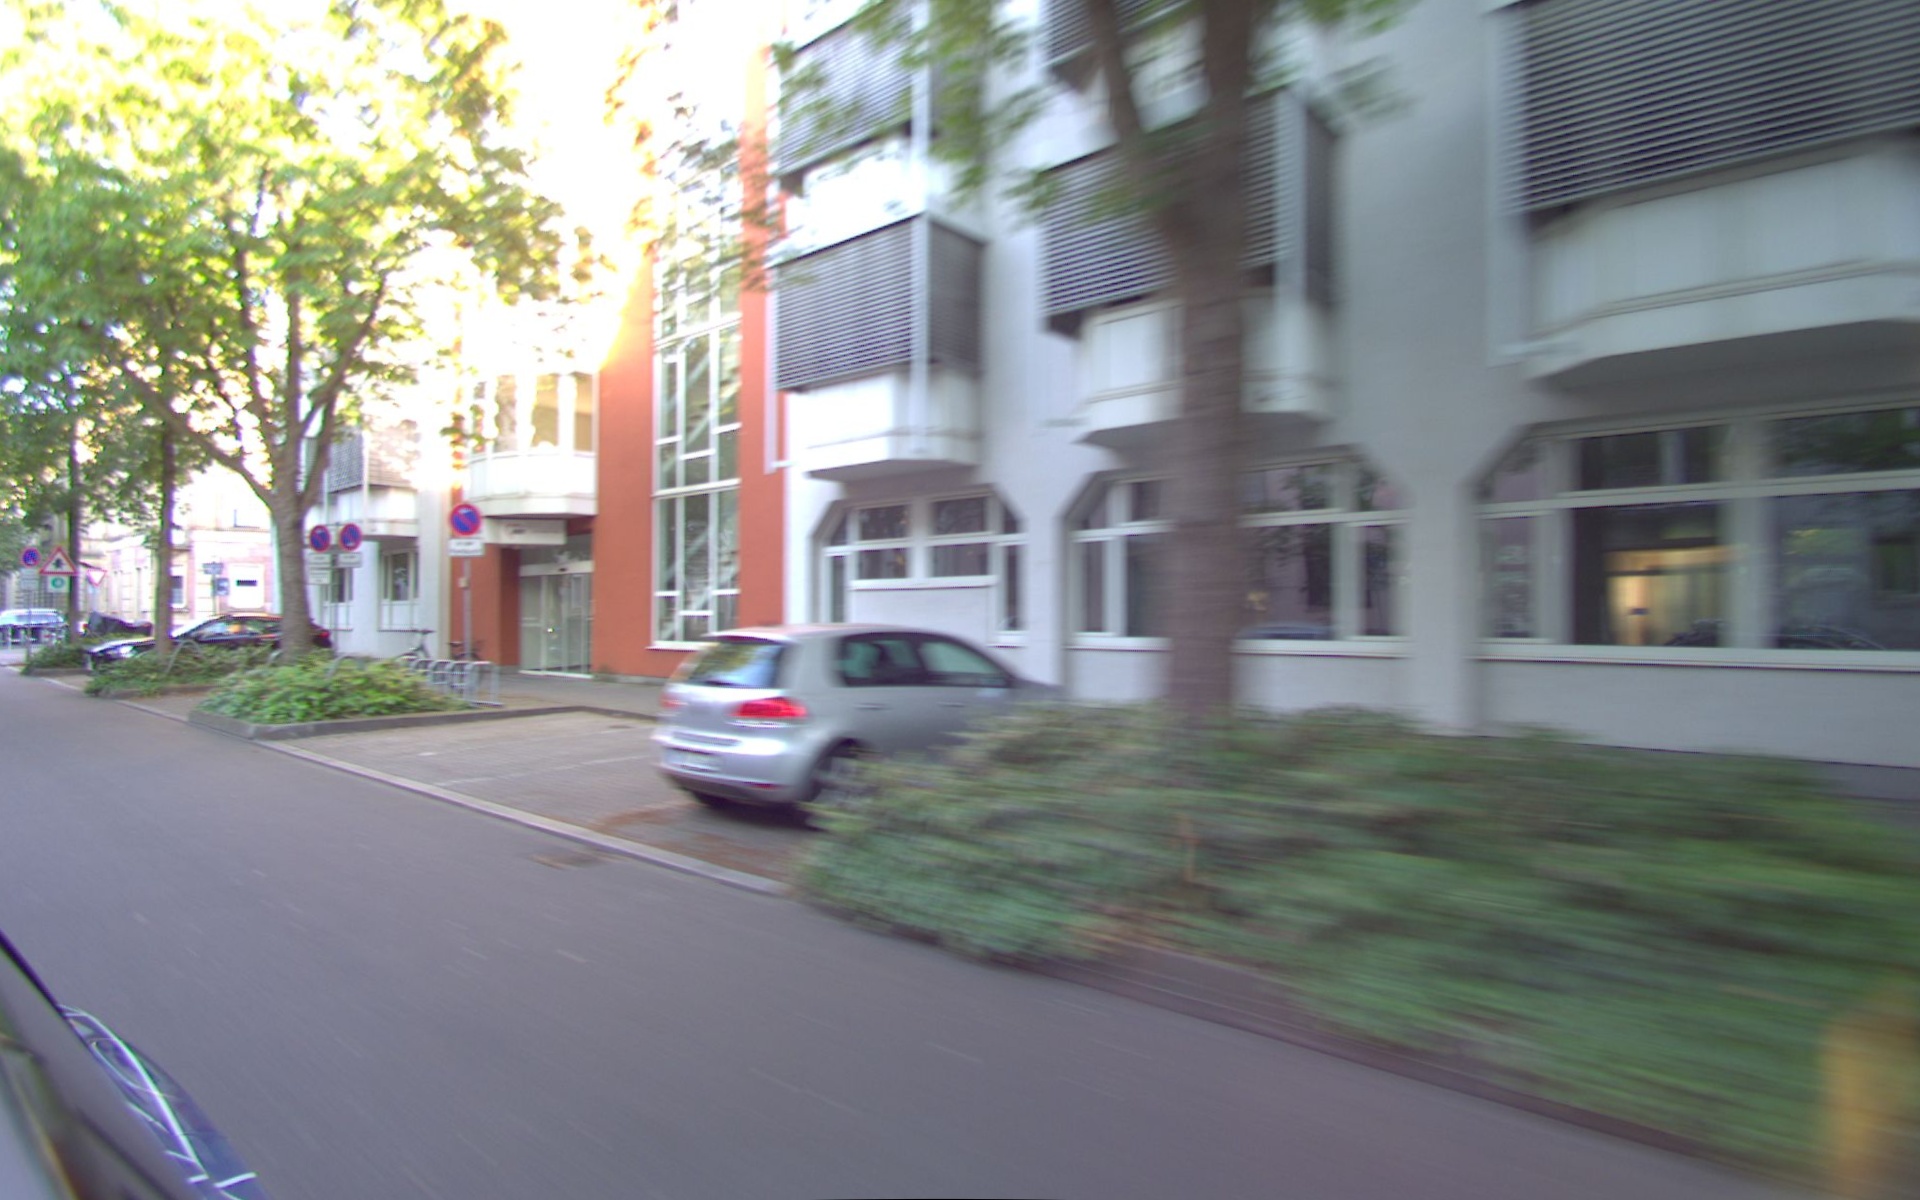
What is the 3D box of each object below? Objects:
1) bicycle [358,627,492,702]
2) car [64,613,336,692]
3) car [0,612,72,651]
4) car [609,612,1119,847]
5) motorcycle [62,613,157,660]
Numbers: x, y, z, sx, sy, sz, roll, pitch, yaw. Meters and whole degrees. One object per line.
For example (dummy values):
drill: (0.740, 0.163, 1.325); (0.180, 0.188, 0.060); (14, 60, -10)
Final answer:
bicycle: (-9.103, 1.065, 17.291); (0.654, 1.185, 1.942); (-1, -2, 34)
car: (-16.474, 1.066, 22.136); (1.870, 1.537, 4.463); (-1, -1, 40)
car: (-42.756, 1.397, 45.225); (4.538, 1.748, 2.142); (1, -1, -44)
car: (-0.587, 0.857, 8.608); (1.952, 1.480, 4.124); (-1, -1, 41)
motorcycle: (-27.788, 1.165, 33.115); (0.895, 1.481, 2.218); (0, -1, 18)
